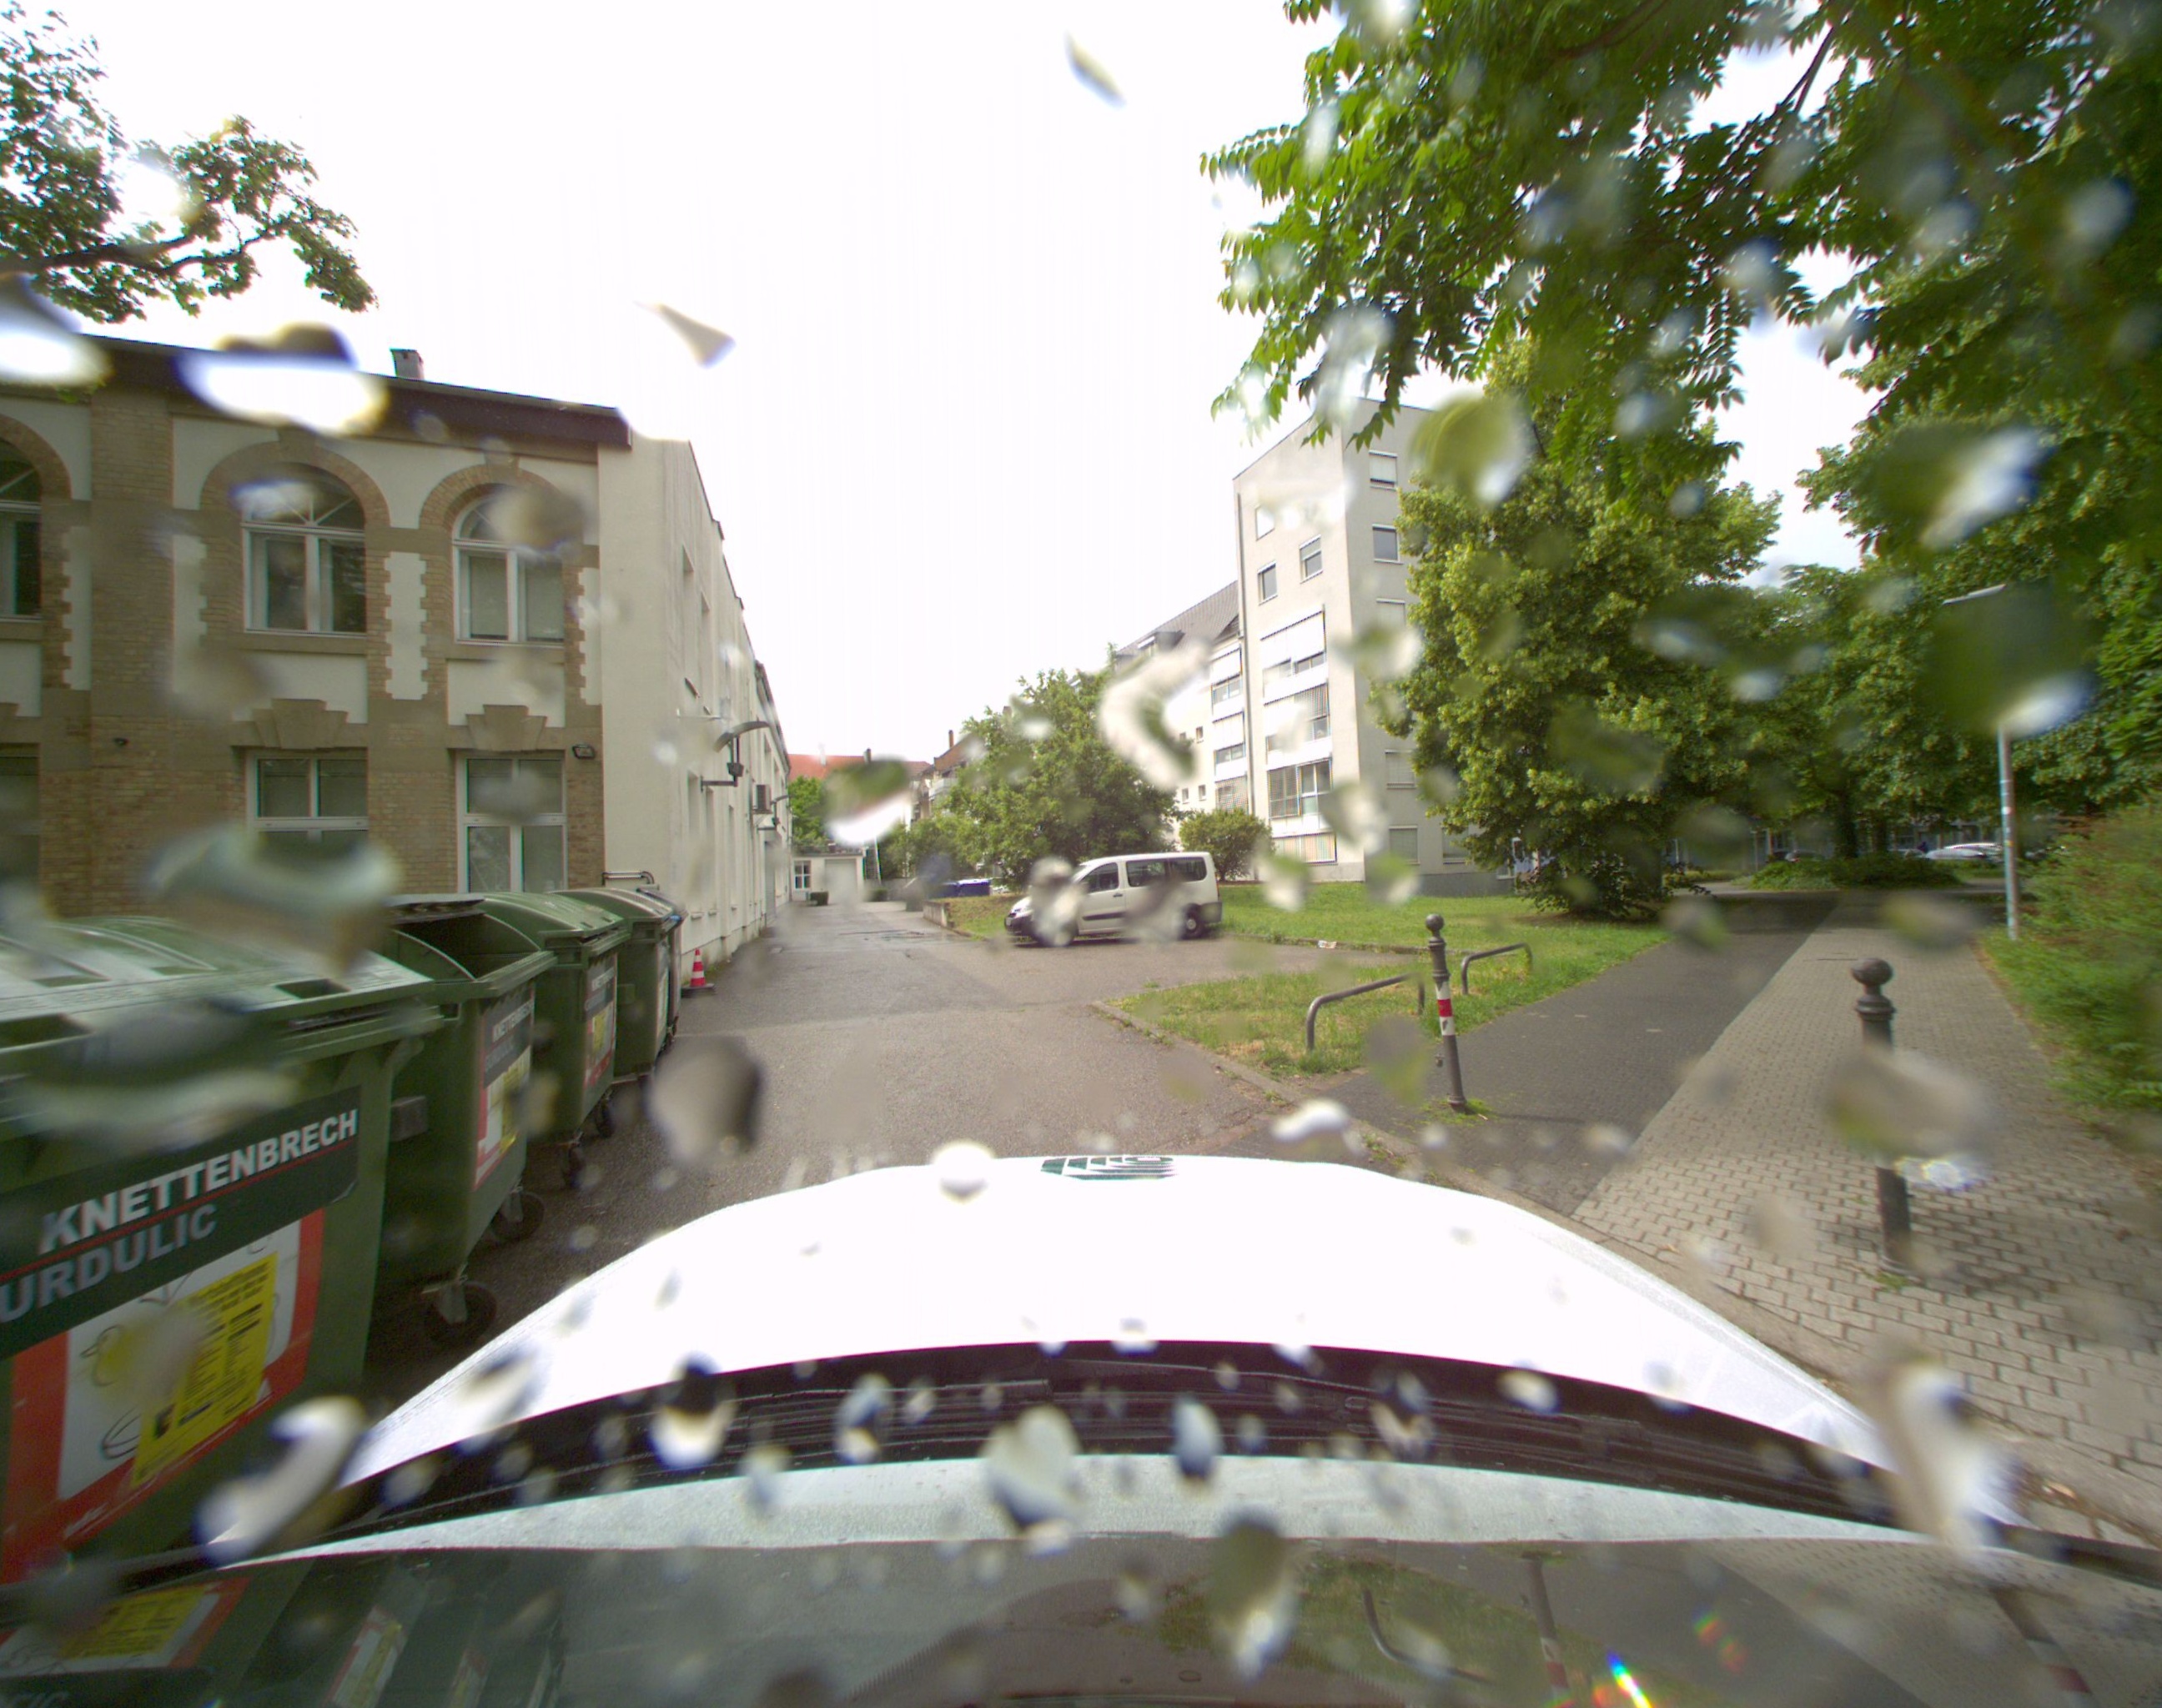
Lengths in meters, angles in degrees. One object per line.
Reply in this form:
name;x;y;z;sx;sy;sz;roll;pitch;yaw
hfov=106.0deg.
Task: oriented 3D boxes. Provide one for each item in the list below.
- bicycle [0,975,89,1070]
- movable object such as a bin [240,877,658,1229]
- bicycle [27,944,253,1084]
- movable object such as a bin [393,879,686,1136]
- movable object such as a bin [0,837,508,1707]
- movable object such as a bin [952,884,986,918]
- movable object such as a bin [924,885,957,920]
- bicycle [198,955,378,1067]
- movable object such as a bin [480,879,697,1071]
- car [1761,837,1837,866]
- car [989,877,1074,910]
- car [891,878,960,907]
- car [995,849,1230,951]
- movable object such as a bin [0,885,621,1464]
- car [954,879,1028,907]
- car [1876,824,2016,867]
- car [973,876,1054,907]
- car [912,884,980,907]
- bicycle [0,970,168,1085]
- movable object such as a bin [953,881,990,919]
bicycle;-10.571;1.677;7.694;0.453;0.799;2.044;0;-1;-17
movable object such as a bin;-3.140;0.869;4.337;1.363;1.471;1.343;0;-2;-19
bicycle;-9.291;1.515;8.169;0.453;1.038;2.044;0;-1;-17
movable object such as a bin;-3.588;0.923;5.639;1.363;1.471;1.357;0;-2;-19
movable object such as a bin;-2.169;0.735;1.502;1.413;1.471;1.551;0;-2;-19
movable object such as a bin;-4.769;1.990;34.715;1.233;1.317;1.049;-2;-1;-19
movable object such as a bin;-5.634;1.926;32.575;1.178;1.317;1.049;0;-2;-19
bicycle;-8.141;1.564;8.481;0.453;0.799;2.044;0;-1;-17
movable object such as a bin;-4.247;0.966;7.220;1.363;1.471;1.357;0;-2;-19
car;43.966;-0.149;49.867;3.981;1.709;1.773;0;-2;-20
car;-2.598;2.059;42.459;4.000;1.354;1.779;-4;-1;-19
car;-11.926;2.927;62.353;4.733;1.833;2.093;-3;-1;-25
car;0.666;0.992;18.528;4.946;2.014;1.989;-1;-2;-15
movable object such as a bin;-2.618;0.867;2.978;1.363;1.471;1.455;0;-2;-19
car;-5.558;2.371;50.315;4.115;1.455;1.819;-3;-2;-23
car;43.249;-0.369;40.856;1.999;2.014;4.352;0;-1;-18
car;-3.750;2.063;44.967;4.097;1.458;1.655;-2;-3;-22
car;-9.484;2.859;57.141;4.375;1.348;1.845;-2;-1;-25
bicycle;-9.971;1.654;7.916;0.453;0.799;2.044;0;-1;-17
movable object such as a bin;-4.440;1.845;32.968;1.279;1.483;1.094;0;-2;-19
